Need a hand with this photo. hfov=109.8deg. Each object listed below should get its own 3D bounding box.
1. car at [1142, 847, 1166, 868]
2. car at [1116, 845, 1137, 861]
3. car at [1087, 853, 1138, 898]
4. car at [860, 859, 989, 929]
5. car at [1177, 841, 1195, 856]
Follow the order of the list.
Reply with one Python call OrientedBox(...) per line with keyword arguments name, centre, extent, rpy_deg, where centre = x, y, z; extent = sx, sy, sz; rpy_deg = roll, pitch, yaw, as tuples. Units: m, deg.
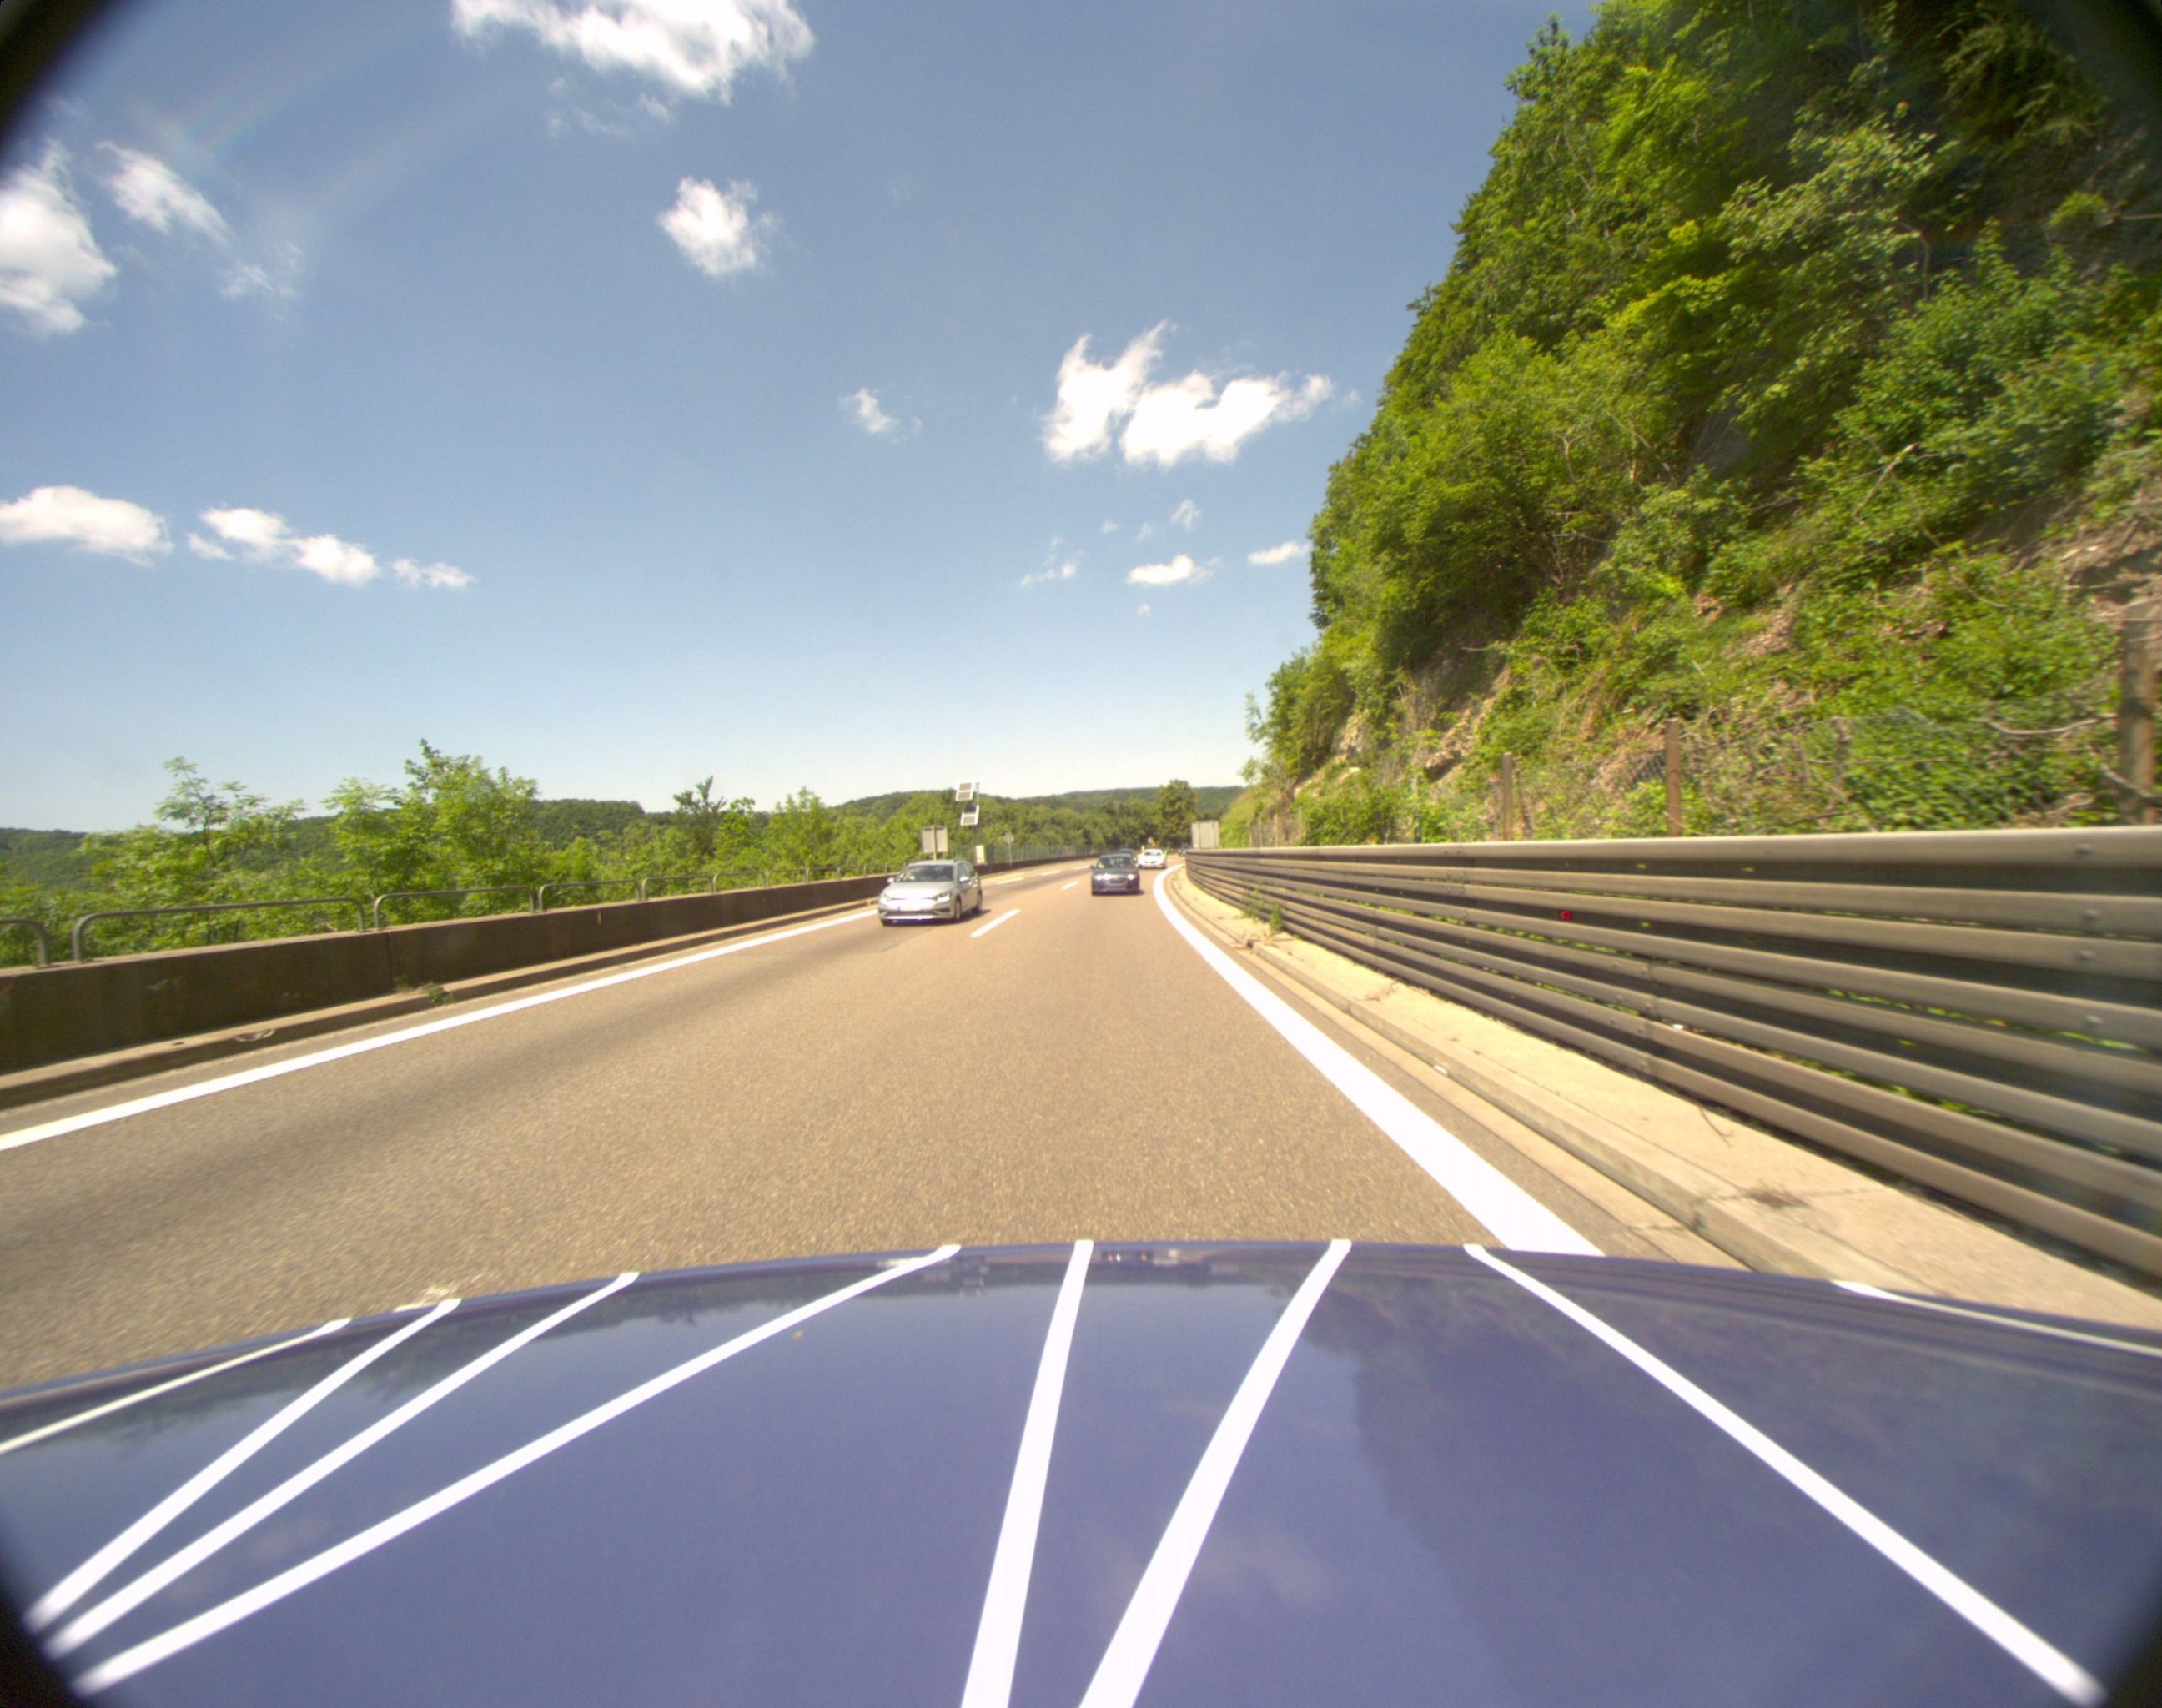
OrientedBox(name="car", centre=(5.576, 0.240, 57.856), extent=(1.702, 1.432, 4.045), rpy_deg=(-1, 1, 6))
OrientedBox(name="car", centre=(4.594, -0.115, 76.038), extent=(1.875, 1.565, 4.001), rpy_deg=(-2, 1, 5))
OrientedBox(name="car", centre=(1.115, 0.709, 27.495), extent=(1.669, 1.415, 4.043), rpy_deg=(-1, 1, 2))
OrientedBox(name="car", centre=(-3.659, 0.885, 18.613), extent=(1.972, 1.370, 4.294), rpy_deg=(-1, 1, 4))
OrientedBox(name="car", centre=(15.213, -0.834, 109.838), extent=(1.996, 2.002, 4.004), rpy_deg=(-2, 1, 16))
